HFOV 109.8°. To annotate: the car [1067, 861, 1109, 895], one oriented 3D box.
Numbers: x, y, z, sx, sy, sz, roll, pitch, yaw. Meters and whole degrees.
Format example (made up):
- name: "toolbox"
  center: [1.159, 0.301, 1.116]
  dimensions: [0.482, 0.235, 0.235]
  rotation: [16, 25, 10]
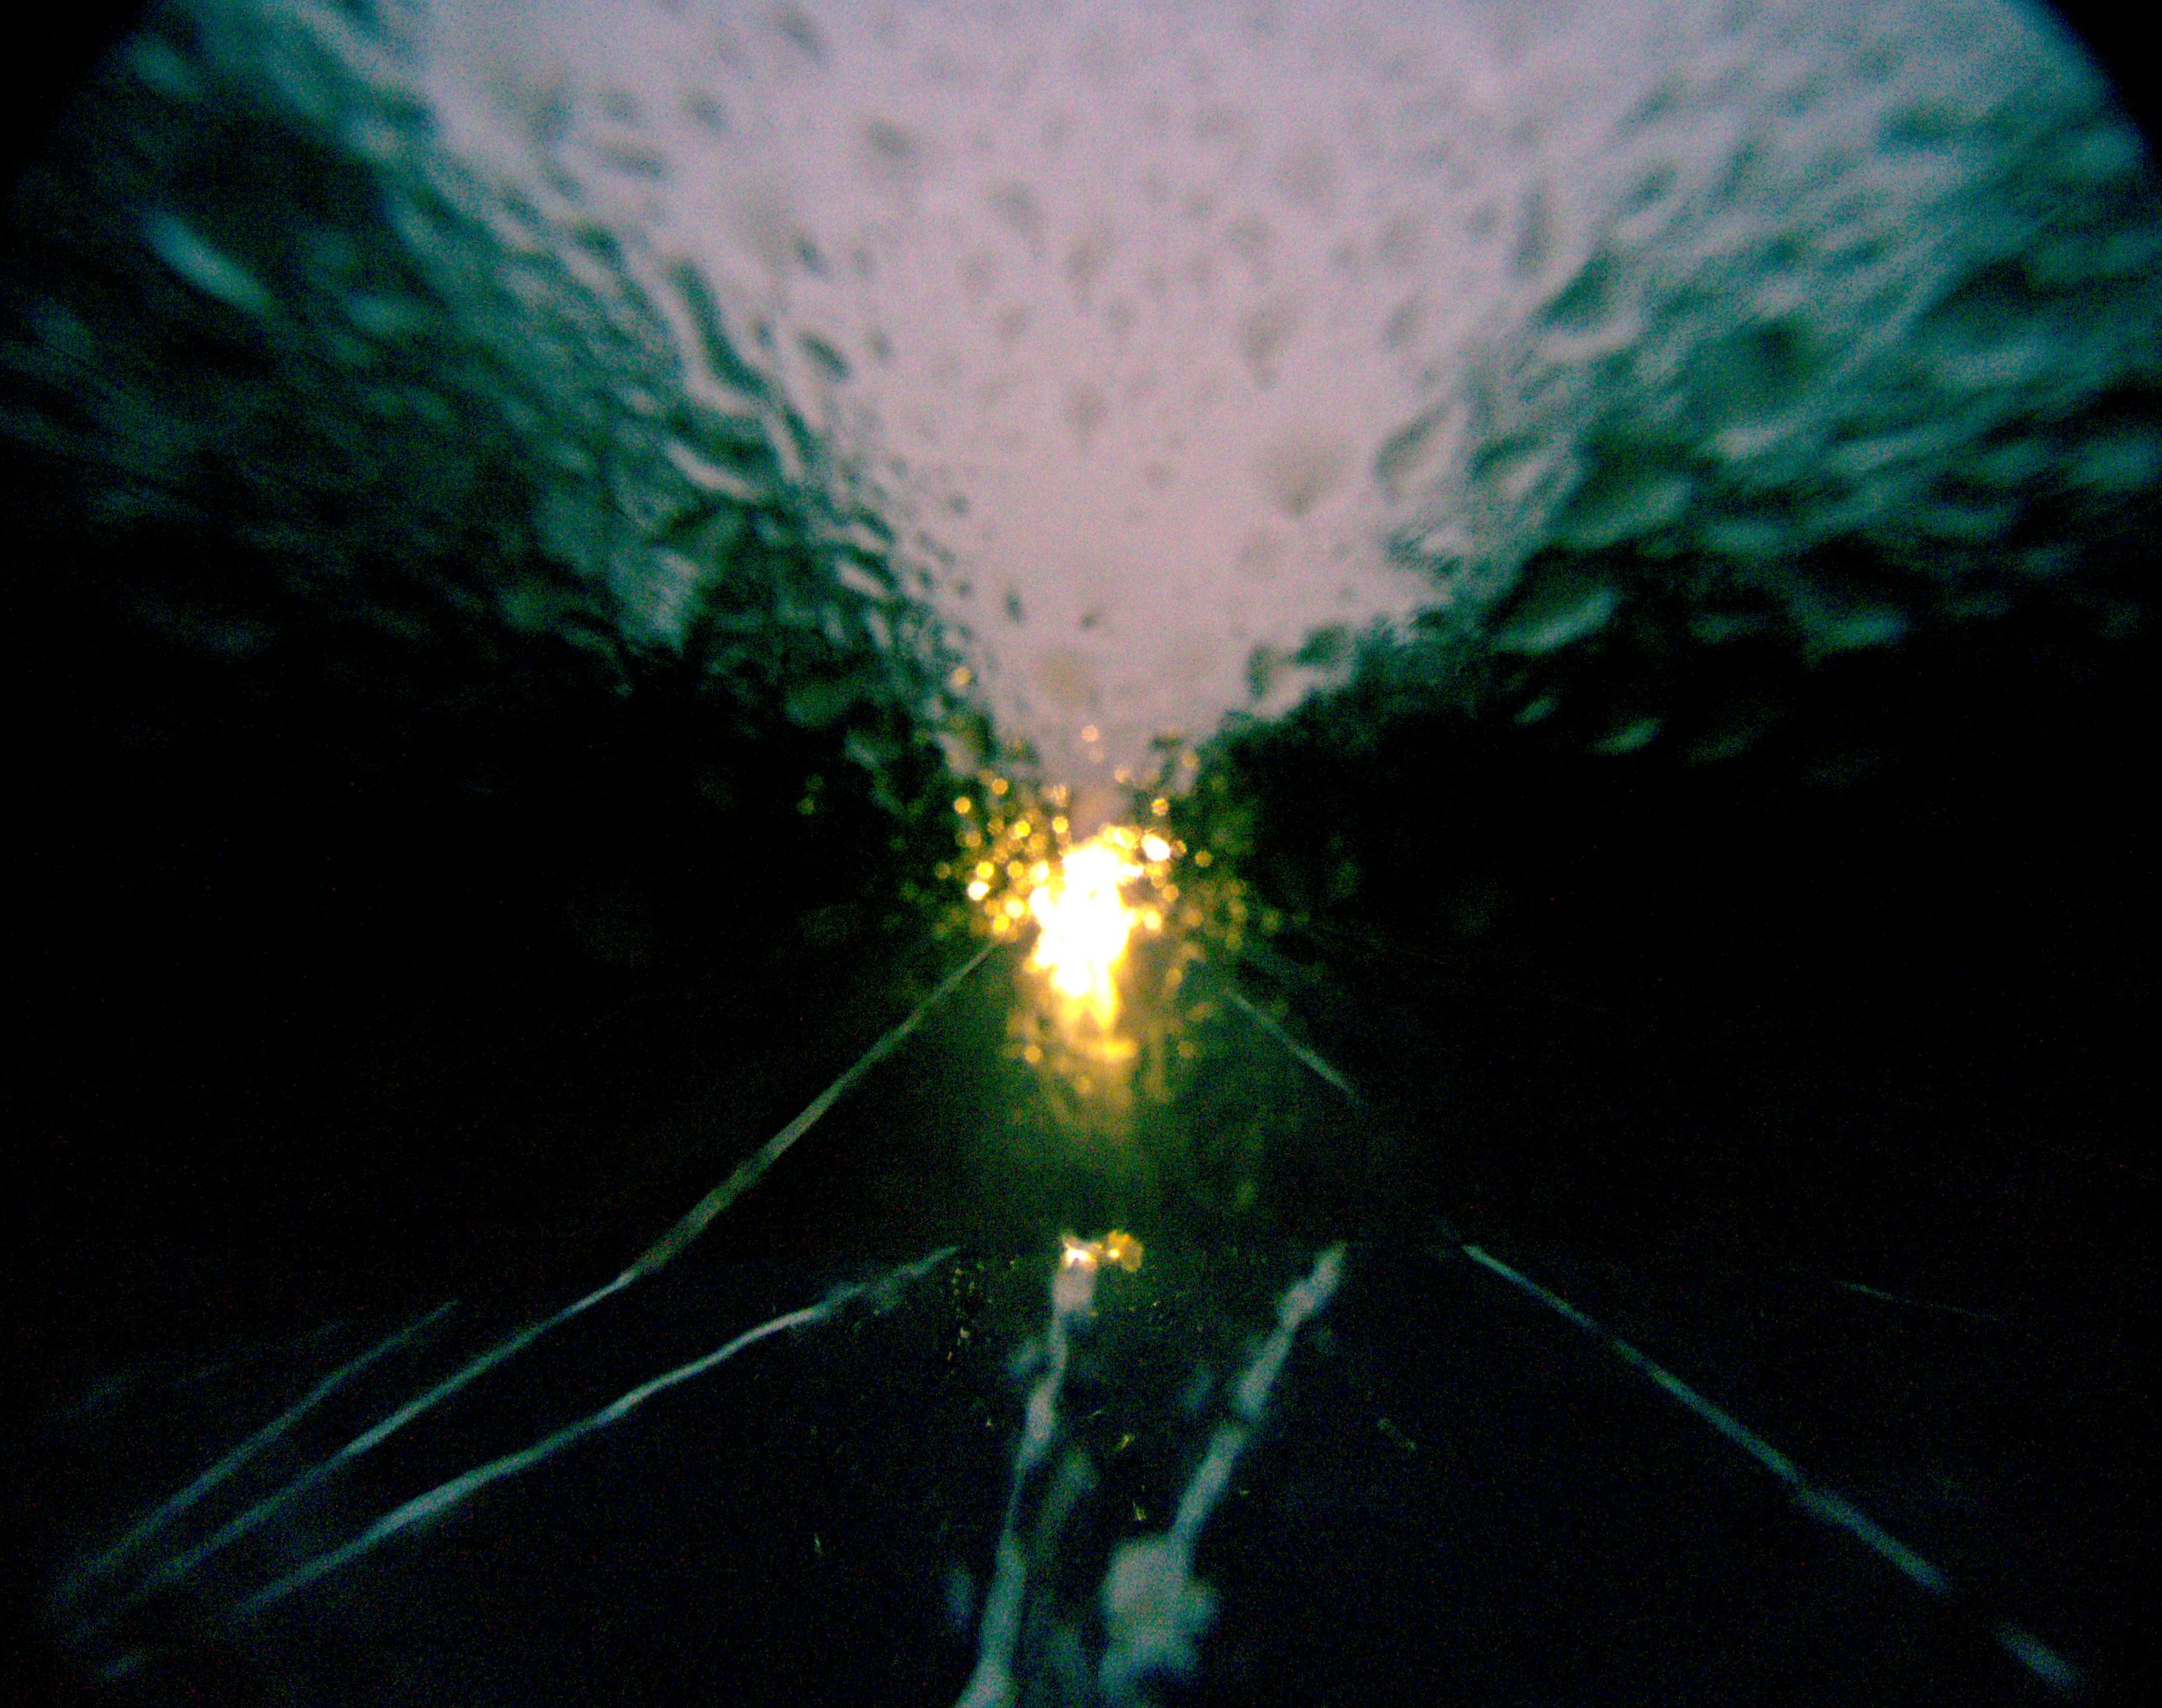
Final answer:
- name: "car"
  center: [0.342, 1.073, 35.388]
  dimensions: [1.845, 1.390, 4.000]
  rotation: [-1, 0, 1]
